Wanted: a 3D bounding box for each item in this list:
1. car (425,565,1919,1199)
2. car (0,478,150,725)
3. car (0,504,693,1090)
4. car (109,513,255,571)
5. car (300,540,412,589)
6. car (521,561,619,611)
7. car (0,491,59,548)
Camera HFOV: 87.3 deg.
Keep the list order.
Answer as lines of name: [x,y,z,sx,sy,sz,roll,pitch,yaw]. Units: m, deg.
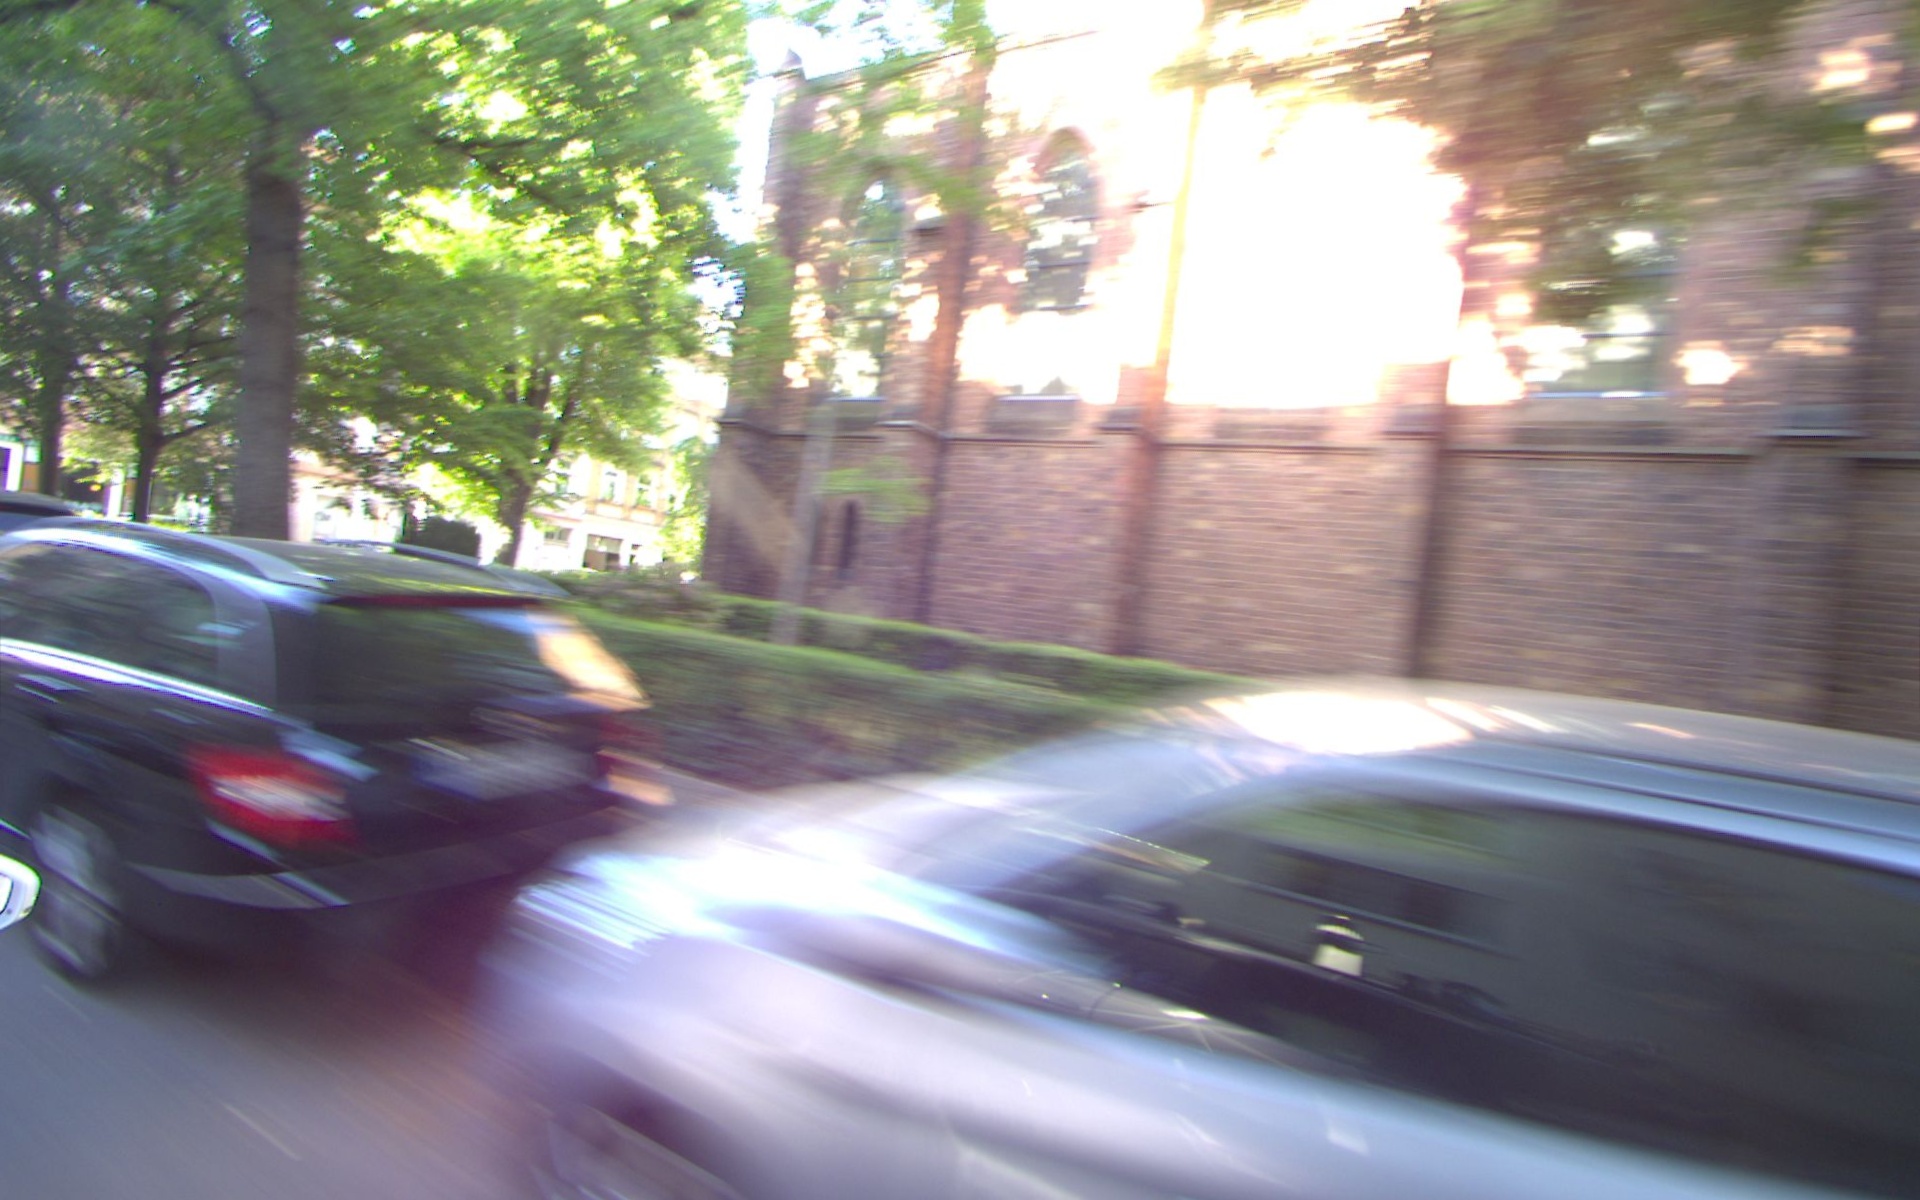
car: [0.784,0.848,2.007,3.567,1.526,1.599,6,3,30]
car: [-7.442,-0.148,7.046,3.714,1.507,1.618,6,3,32]
car: [-3.544,0.388,4.512,4.615,1.461,1.676,6,3,29]
car: [-28.332,-2.084,36.749,1.610,1.489,3.855,4,-4,38]
car: [-24.841,-1.458,41.478,1.610,1.489,3.532,4,-4,38]
car: [-17.027,-0.592,44.018,1.610,1.667,3.532,4,-4,38]
car: [-31.575,-2.753,32.085,1.736,1.626,3.919,4,-3,38]
